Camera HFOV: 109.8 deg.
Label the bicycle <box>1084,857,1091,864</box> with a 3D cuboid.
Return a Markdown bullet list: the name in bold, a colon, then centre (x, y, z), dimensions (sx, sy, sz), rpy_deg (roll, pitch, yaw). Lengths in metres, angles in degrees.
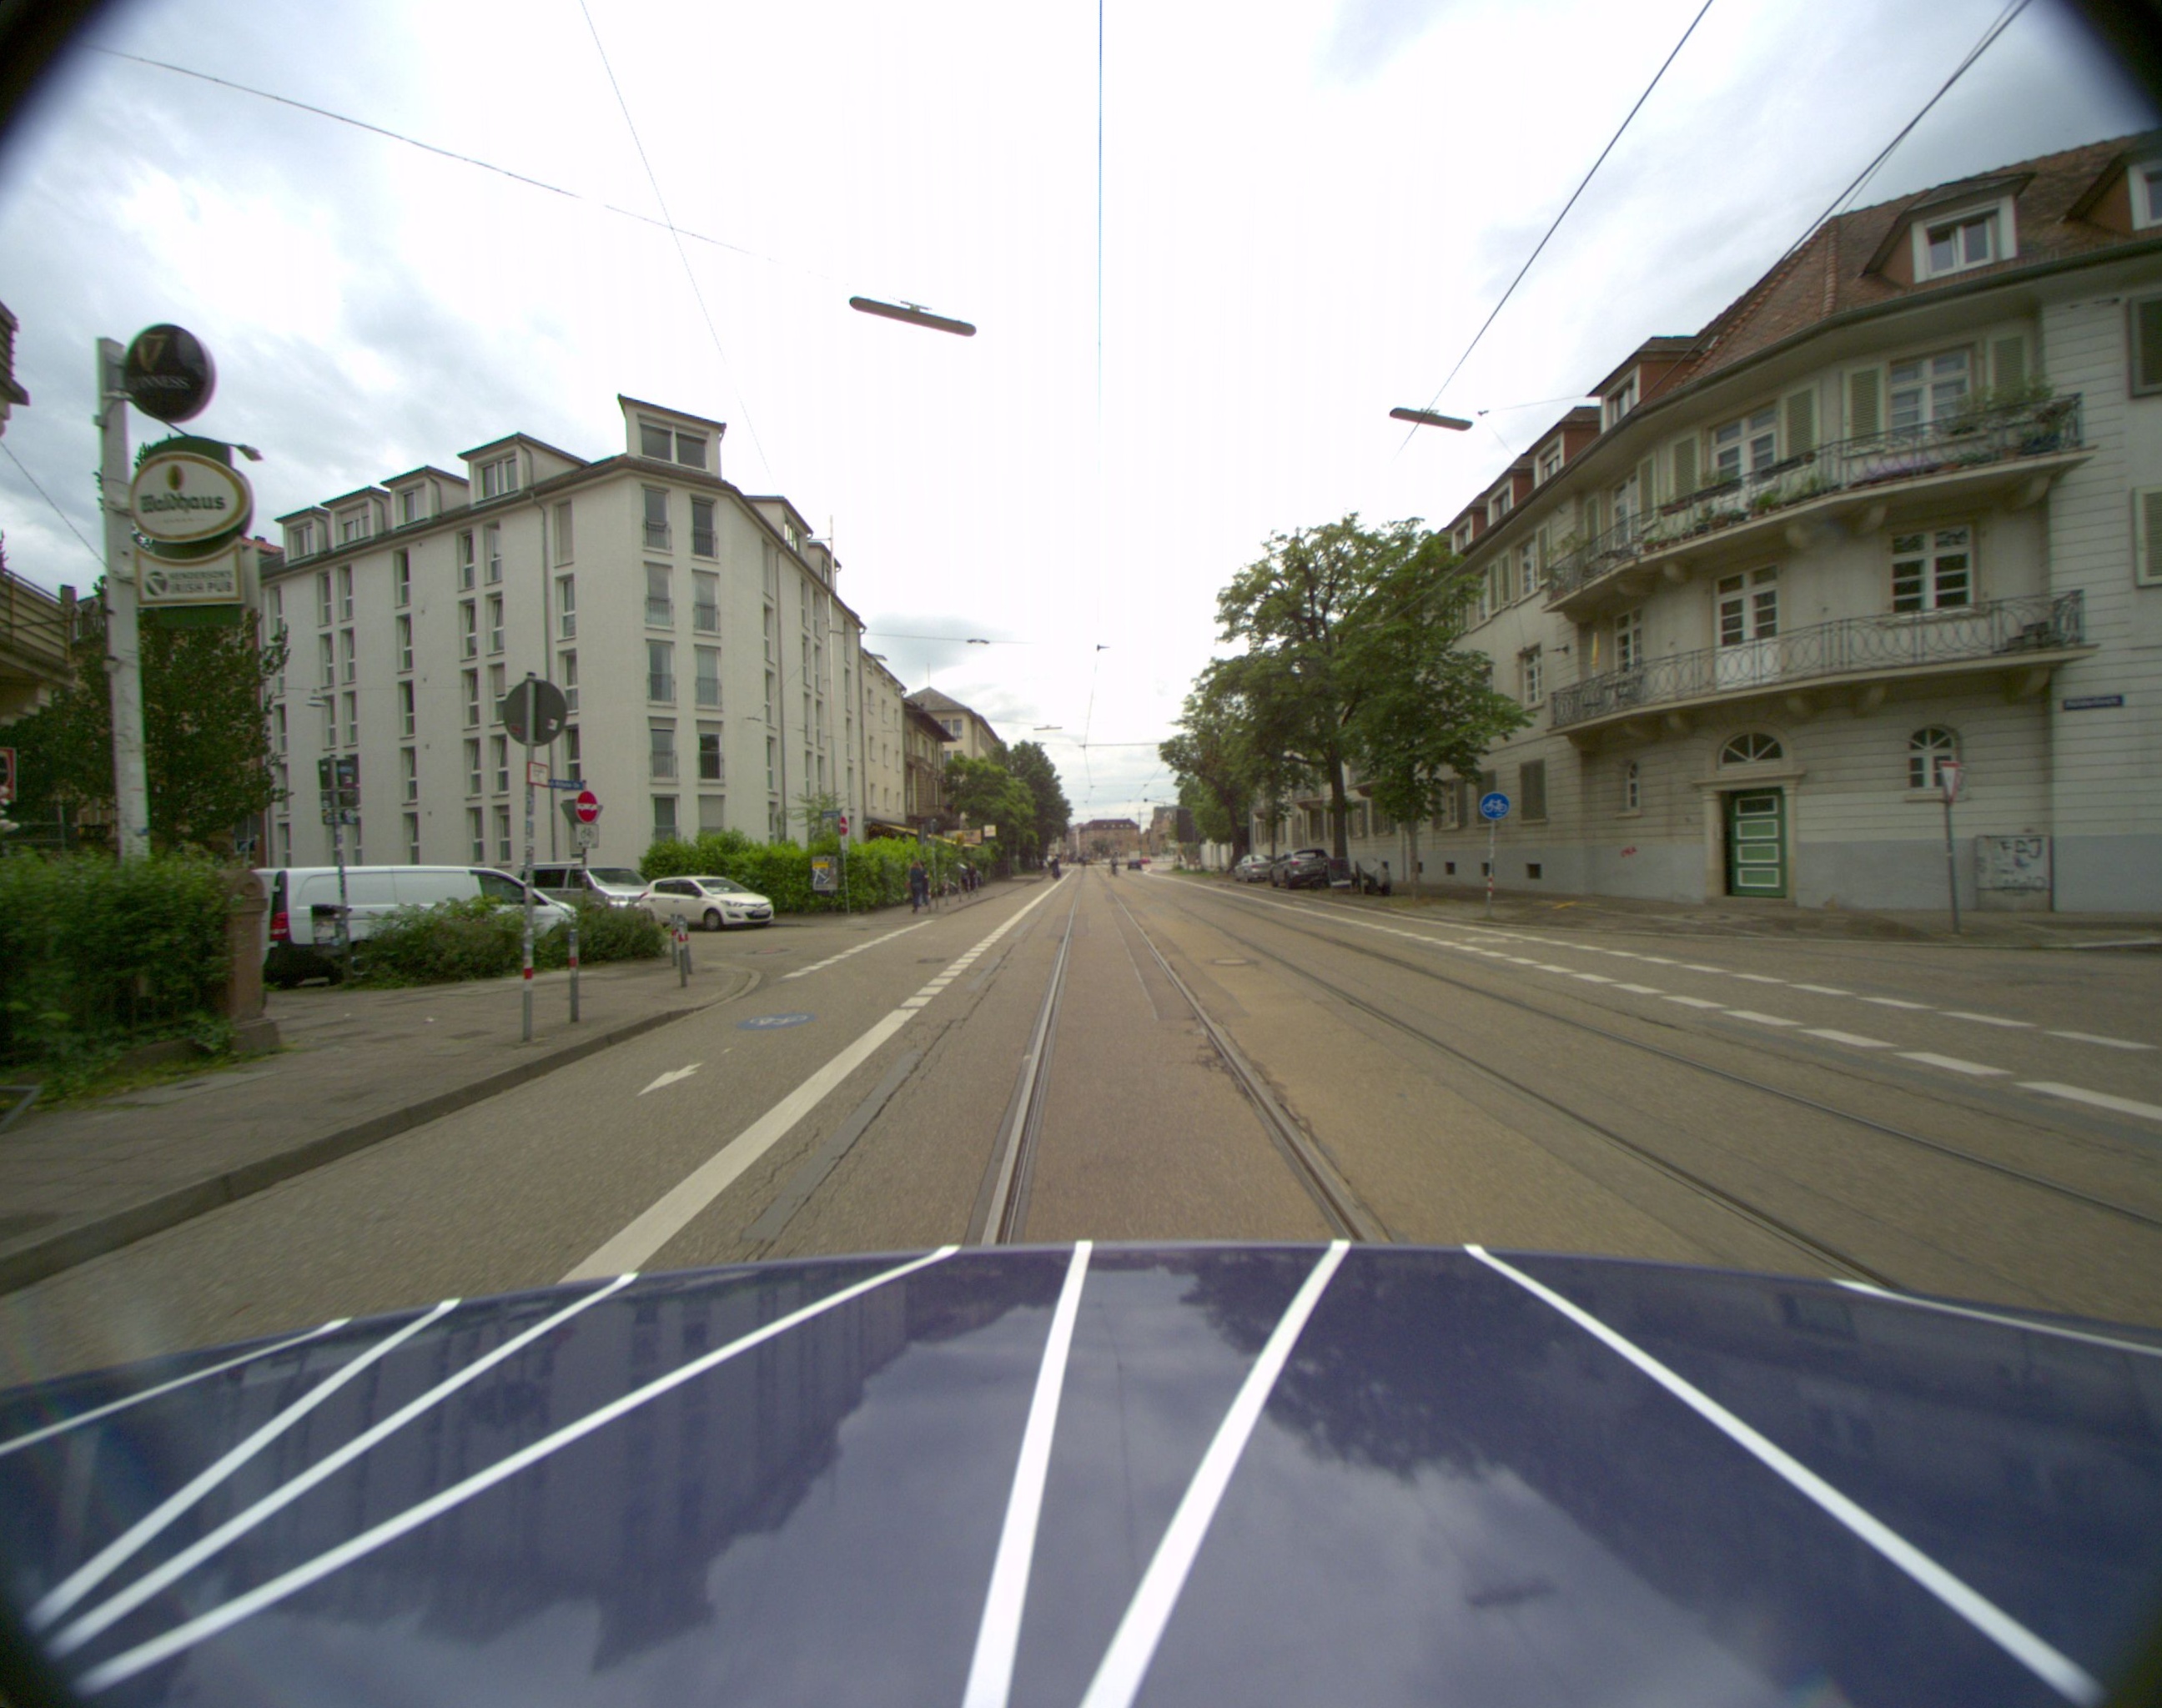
- **bicycle**: centre (1.064, 1.064, 125.674), dimensions (0.793, 1.179, 2.012), rpy_deg (1, 0, 8)

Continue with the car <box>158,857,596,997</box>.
- **car**: centre (-11.291, 1.094, 12.841), dimensions (2.054, 1.866, 5.038), rpy_deg (-2, -2, 18)

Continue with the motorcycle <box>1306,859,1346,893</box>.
- **motorcycle**: centre (9.264, 0.813, 28.750), dimensions (1.288, 1.215, 0.548), rpy_deg (-3, 0, 7)

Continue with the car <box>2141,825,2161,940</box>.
- **car**: centre (17.343, 0.375, 9.432), dimensions (4.505, 1.653, 1.942), rpy_deg (-2, 1, 26)

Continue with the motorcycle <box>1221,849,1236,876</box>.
- **motorcycle**: centre (9.308, 0.546, 47.998), dimensions (0.834, 1.633, 2.481), rpy_deg (-2, 0, 9)

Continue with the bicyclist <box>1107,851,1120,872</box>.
- **bicyclist**: centre (2.630, 0.640, 62.194), dimensions (0.775, 1.681, 0.870), rpy_deg (-2, 0, 21)

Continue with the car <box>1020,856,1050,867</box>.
- **car**: centre (-7.130, 1.145, 118.460), dimensions (4.330, 1.542, 1.747), rpy_deg (-2, 0, -22)

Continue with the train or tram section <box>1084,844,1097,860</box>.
- **train or tram section**: centre (2.272, -0.419, 179.980), dimensions (2.631, 3.659, 5.984), rpy_deg (-2, 0, -1)

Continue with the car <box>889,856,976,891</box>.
- **car**: centre (-8.065, 1.068, 41.532), dimensions (4.290, 1.798, 1.824), rpy_deg (-1, 0, 2)

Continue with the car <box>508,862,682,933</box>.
- **car**: centre (-14.449, 1.266, 22.588), dimensions (4.734, 1.927, 1.980), rpy_deg (-2, -1, 23)

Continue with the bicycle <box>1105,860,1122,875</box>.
- **bicycle**: centre (2.693, 1.107, 62.231), dimensions (0.775, 1.205, 1.871), rpy_deg (-2, 0, 21)

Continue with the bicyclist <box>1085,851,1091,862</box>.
- **bicyclist**: centre (1.093, 0.442, 125.867), dimensions (0.793, 1.773, 1.148), rpy_deg (1, 0, 8)

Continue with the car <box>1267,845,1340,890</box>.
- **car**: centre (9.254, 0.548, 31.967), dimensions (1.842, 1.651, 4.293), rpy_deg (-4, 0, 2)

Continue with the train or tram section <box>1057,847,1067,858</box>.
- **train or tram section**: centre (-5.196, -0.283, 210.595), dimensions (2.610, 2.936, 4.965), rpy_deg (-2, 0, -1)

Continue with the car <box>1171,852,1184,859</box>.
- **car**: centre (21.993, 0.281, 173.365), dimensions (1.491, 1.500, 3.476), rpy_deg (-1, 0, 34)

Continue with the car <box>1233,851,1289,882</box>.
- **car**: centre (9.390, 0.627, 40.064), dimensions (1.816, 1.457, 4.614), rpy_deg (-2, 0, 0)

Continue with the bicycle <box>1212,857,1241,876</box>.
- **bicycle**: centre (9.562, 0.802, 49.835), dimensions (1.744, 1.122, 0.518), rpy_deg (-4, 0, 19)

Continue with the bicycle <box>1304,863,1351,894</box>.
- **bicycle**: centre (8.980, 0.889, 27.708), dimensions (1.379, 0.999, 0.930), rpy_deg (-5, 0, 5)

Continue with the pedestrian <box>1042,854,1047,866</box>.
- **pedestrian**: centre (-5.651, 0.943, 117.372), dimensions (0.614, 1.740, 0.685), rpy_deg (-2, 0, -14)

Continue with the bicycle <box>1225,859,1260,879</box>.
- **bicycle**: centre (9.431, 0.879, 44.404), dimensions (1.900, 1.021, 0.564), rpy_deg (-3, 0, -4)

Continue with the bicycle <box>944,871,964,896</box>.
- **bicycle**: centre (-5.898, 1.373, 35.381), dimensions (0.634, 1.121, 1.812), rpy_deg (0, -1, 0)

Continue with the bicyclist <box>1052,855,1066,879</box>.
- **bicyclist**: centre (-1.734, 1.039, 60.682), dimensions (0.881, 1.811, 1.479), rpy_deg (-2, -1, 5)

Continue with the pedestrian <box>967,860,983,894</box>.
- **pedestrian**: centre (-5.307, 1.156, 38.046), dimensions (0.625, 1.661, 0.960), rpy_deg (1, 0, 0)

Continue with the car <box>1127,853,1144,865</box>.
- **car**: centre (6.671, 0.569, 93.326), dimensions (1.733, 1.400, 3.655), rpy_deg (-2, 0, 0)

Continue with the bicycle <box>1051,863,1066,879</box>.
- **bicycle**: centre (-1.758, 1.373, 60.483), dimensions (0.853, 1.234, 2.311), rpy_deg (-2, -2, 5)

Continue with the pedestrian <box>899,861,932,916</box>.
- **pedestrian**: centre (-5.116, 1.053, 23.556), dimensions (0.875, 1.646, 0.908), rpy_deg (-2, 0, -8)

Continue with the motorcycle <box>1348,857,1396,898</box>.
- **motorcycle**: centre (9.410, 0.746, 24.667), dimensions (0.541, 1.250, 2.141), rpy_deg (-2, 0, -6)

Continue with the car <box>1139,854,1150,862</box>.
- **car**: centre (13.407, 0.813, 159.522), dimensions (1.758, 1.490, 4.004), rpy_deg (0, 0, 14)

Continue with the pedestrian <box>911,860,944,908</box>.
- **pedestrian**: centre (-5.447, 1.052, 26.997), dimensions (0.794, 1.627, 0.837), rpy_deg (0, 2, 16)

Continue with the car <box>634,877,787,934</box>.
- **car**: centre (-10.179, 1.396, 20.872), dimensions (3.812, 1.422, 1.674), rpy_deg (-2, -1, 23)
